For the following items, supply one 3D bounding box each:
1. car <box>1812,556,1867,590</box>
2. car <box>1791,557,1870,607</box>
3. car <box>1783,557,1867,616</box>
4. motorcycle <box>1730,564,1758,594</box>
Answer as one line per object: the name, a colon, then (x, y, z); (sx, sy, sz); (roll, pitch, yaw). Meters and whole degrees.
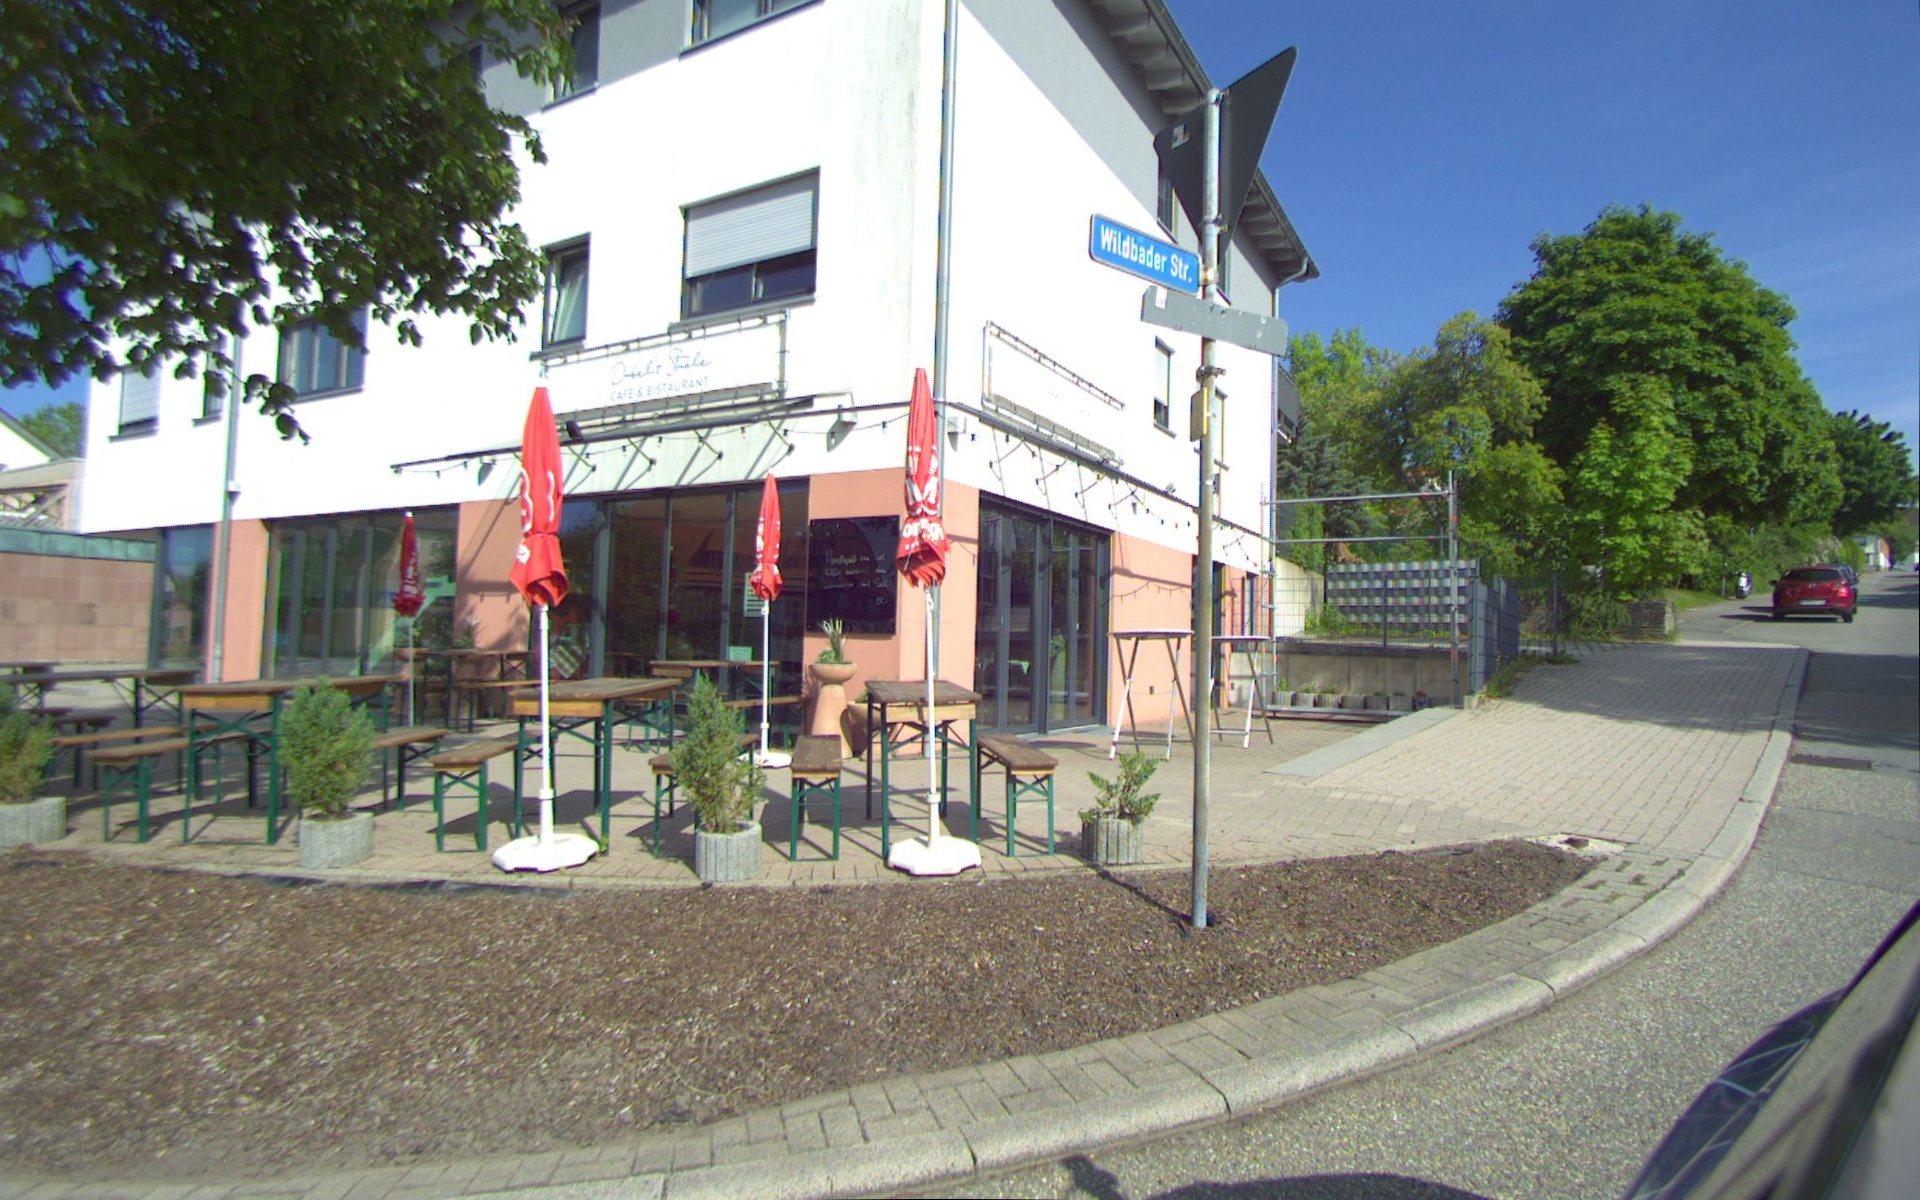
car: (39.843, -1.224, 45.809); (1.770, 1.488, 3.752); (0, 1, 43)
car: (27.713, -0.602, 32.178); (1.770, 1.488, 3.752); (0, 1, 43)
car: (24.018, -0.392, 28.066); (1.619, 1.517, 3.752); (0, 1, 43)
motorcycle: (31.765, -0.866, 40.983); (0.782, 1.196, 2.156); (0, 2, 41)
